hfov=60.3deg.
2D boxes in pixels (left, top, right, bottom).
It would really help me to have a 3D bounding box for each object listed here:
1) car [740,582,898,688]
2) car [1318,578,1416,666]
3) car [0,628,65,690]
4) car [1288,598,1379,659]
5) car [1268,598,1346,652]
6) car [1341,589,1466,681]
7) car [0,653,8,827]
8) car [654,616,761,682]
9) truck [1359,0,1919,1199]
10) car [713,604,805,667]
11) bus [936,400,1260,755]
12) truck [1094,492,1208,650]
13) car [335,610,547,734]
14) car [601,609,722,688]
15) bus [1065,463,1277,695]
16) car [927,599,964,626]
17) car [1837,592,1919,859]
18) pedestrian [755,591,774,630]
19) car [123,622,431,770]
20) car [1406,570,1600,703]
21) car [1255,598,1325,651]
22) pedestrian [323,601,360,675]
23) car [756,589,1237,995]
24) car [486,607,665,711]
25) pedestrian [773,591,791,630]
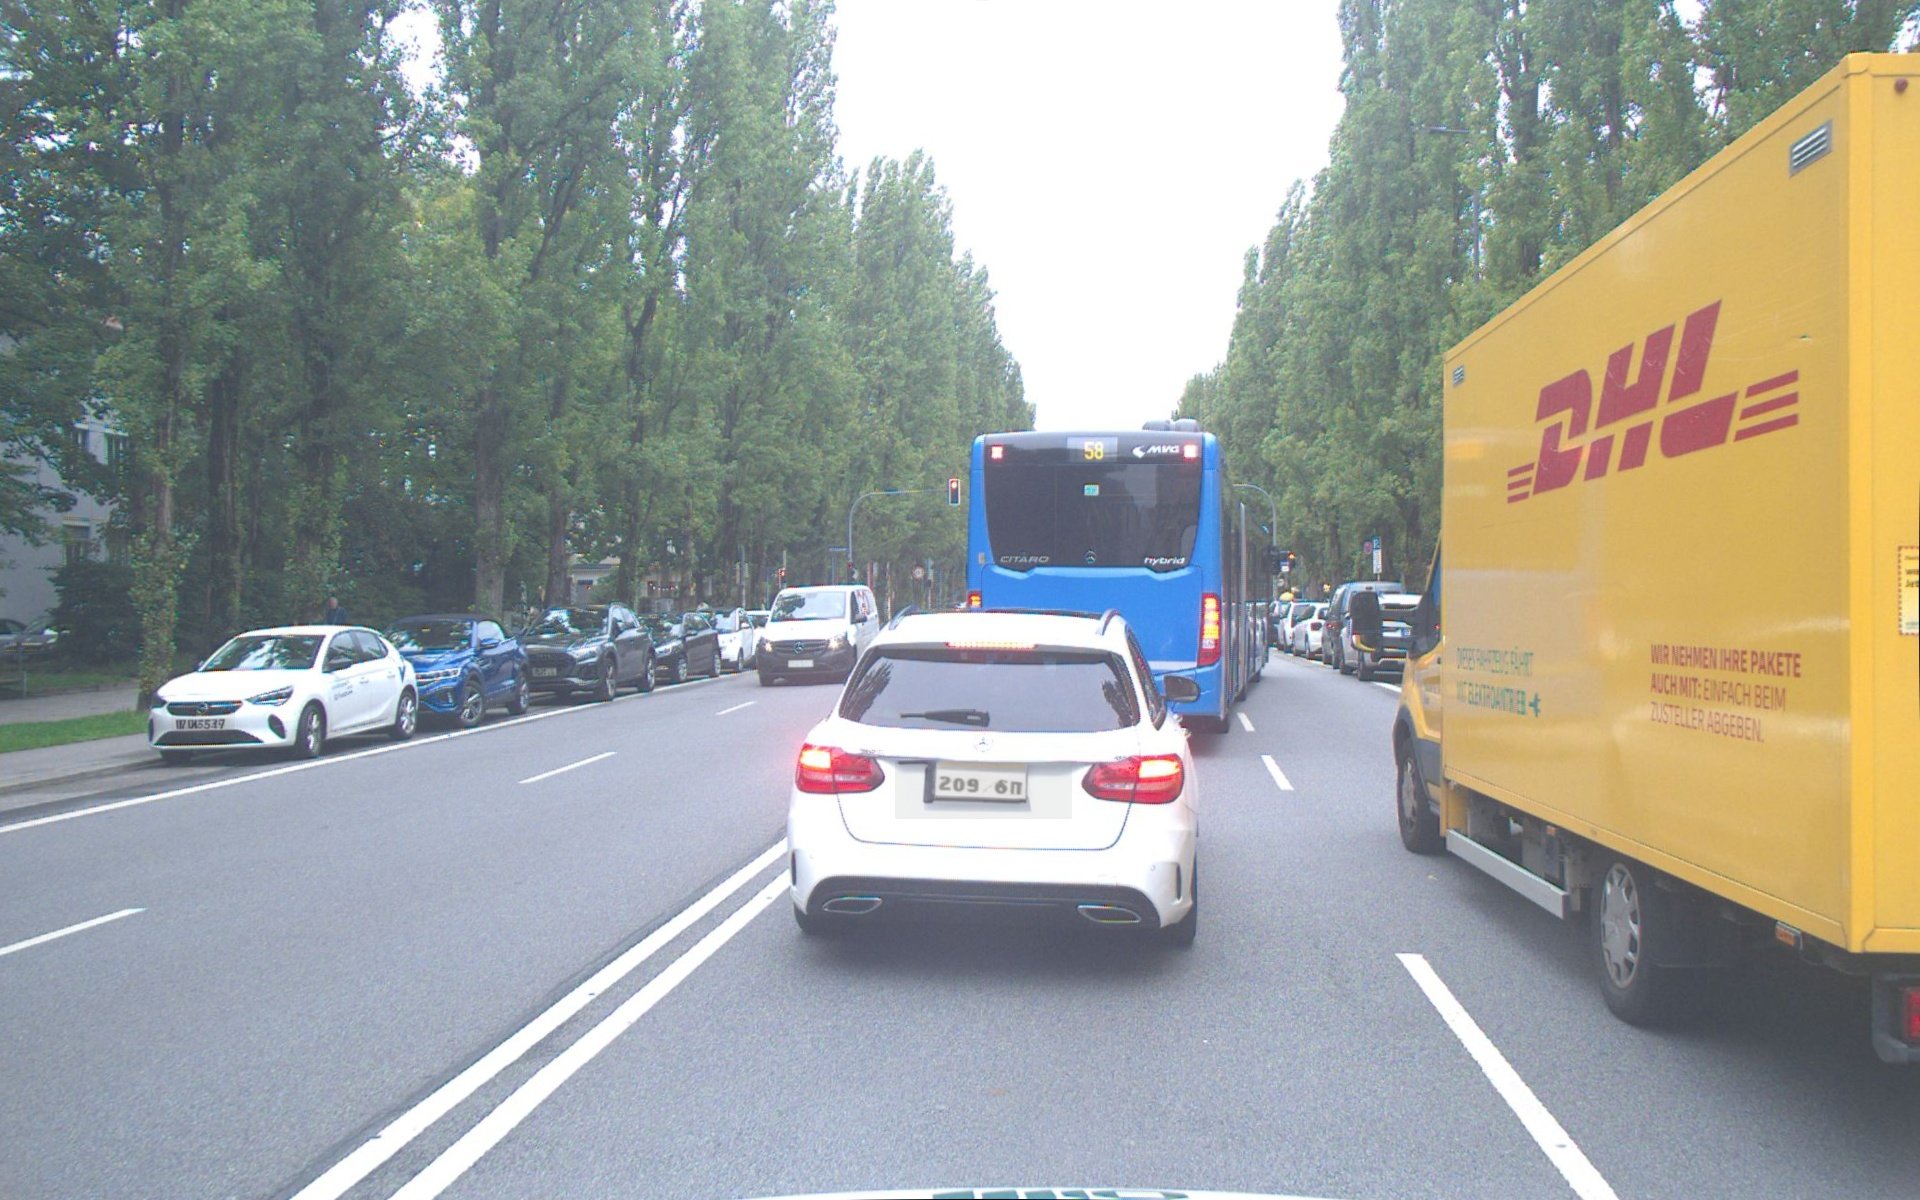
[{"bbox_3d":[-2.775,0.668,34.121,2.136,1.924,5.700,-2,0,6],"label":"car"},{"bbox_3d":[9.182,0.466,37.569,1.667,1.868,4.003,1,0,7],"label":"car"},{"bbox_3d":[-28.578,1.732,48.929,1.953,1.713,4.265,-1,0,-2],"label":"car"},{"bbox_3d":[9.833,0.721,43.787,1.760,1.501,4.002,-1,0,4],"label":"car"},{"bbox_3d":[10.218,0.704,48.920,1.748,1.518,4.002,-1,0,4],"label":"car"},{"bbox_3d":[8.413,0.618,31.682,1.642,1.624,4.090,1,0,5],"label":"car"},{"bbox_3d":[-8.326,1.115,10.797,1.547,1.327,4.031,-2,0,6],"label":"car"},{"bbox_3d":[-6.020,1.132,39.825,1.640,1.438,4.002,-1,0,4],"label":"car"},{"bbox_3d":[3.584,-0.009,7.486,2.278,2.949,7.337,0,0,4],"label":"truck"},{"bbox_3d":[-5.323,0.915,44.297,1.672,1.575,4.002,-1,0,4],"label":"car"},{"bbox_3d":[2.073,-0.225,19.985,2.794,3.270,9.067,0,0,12],"label":"bus"},{"bbox_3d":[5.271,-0.748,47.072,2.659,4.034,9.222,-1,0,3],"label":"truck"},{"bbox_3d":[-7.372,0.965,23.899,1.707,1.545,4.118,-2,0,0],"label":"car"},{"bbox_3d":[-6.293,0.989,35.240,1.507,1.458,3.871,-4,0,4],"label":"car"},{"bbox_3d":[3.992,-0.313,29.048,2.810,3.362,9.798,0,0,12],"label":"bus"},{"bbox_3d":[-0.845,0.713,96.552,1.783,1.512,4.002,-1,0,5],"label":"car"},{"bbox_3d":[6.187,0.710,8.262,1.689,1.521,4.327,0,0,6],"label":"car"},{"bbox_3d":[-10.237,0.543,86.671,0.813,2.049,0.778,-1,0,3],"label":"pedestrian"},{"bbox_3d":[-7.806,1.041,19.352,1.650,1.437,4.007,-2,0,4],"label":"car"},{"bbox_3d":[8.086,0.501,25.021,1.794,1.804,4.232,1,0,4],"label":"car"},{"bbox_3d":[10.740,0.762,54.060,1.771,1.646,4.002,-1,0,4],"label":"car"},{"bbox_3d":[-15.177,0.927,40.596,0.587,1.769,0.641,-1,0,5],"label":"pedestrian"},{"bbox_3d":[0.349,0.708,8.451,1.787,1.480,4.585,0,0,6],"label":"car"},{"bbox_3d":[-6.657,0.981,29.134,1.753,1.575,4.341,-4,0,4],"label":"car"},{"bbox_3d":[-9.344,0.540,86.800,0.813,2.049,0.778,-1,0,3],"label":"pedestrian"}]
